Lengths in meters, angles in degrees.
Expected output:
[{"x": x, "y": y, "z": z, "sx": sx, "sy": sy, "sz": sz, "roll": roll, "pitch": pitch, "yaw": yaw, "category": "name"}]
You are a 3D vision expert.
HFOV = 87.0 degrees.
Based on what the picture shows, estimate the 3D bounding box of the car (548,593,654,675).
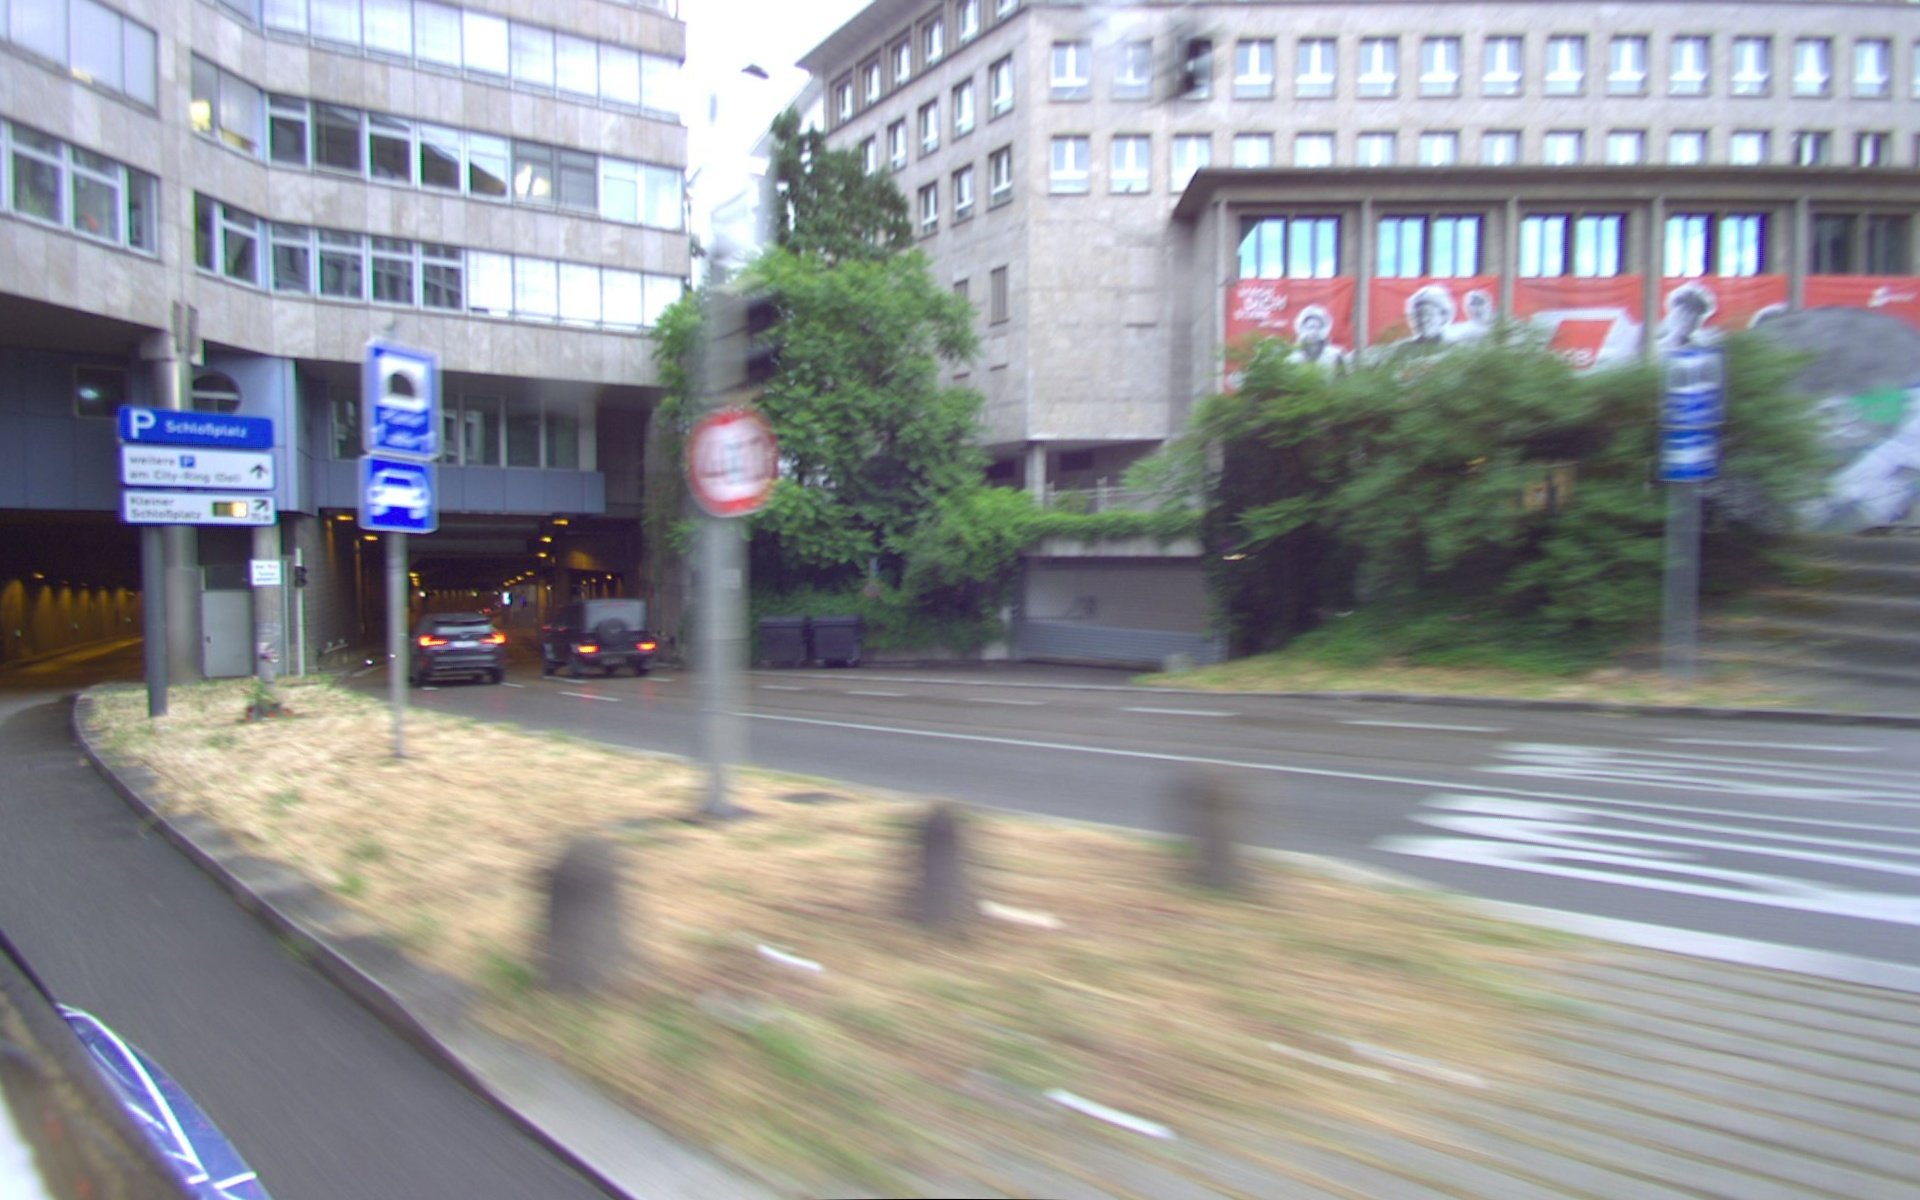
[{"x": -9.408, "y": 0.874, "z": 26.287, "sx": 1.811, "sy": 1.936, "sz": 4.656, "roll": 0, "pitch": -2, "yaw": -30, "category": "car"}]

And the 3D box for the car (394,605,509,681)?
[{"x": -11.924, "y": 0.977, "z": 23.572, "sx": 1.820, "sy": 1.600, "sz": 4.400, "roll": 0, "pitch": -2, "yaw": -34, "category": "car"}]

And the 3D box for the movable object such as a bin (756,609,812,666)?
[{"x": -4.769, "y": 1.003, "z": 27.498, "sx": 1.321, "sy": 1.461, "sz": 1.167, "roll": 0, "pitch": 0, "yaw": 1, "category": "movable object such as a bin"}]

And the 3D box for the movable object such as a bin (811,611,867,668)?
[{"x": -3.254, "y": 1.041, "z": 27.306, "sx": 1.193, "sy": 1.461, "sz": 1.293, "roll": 0, "pitch": 0, "yaw": 8, "category": "movable object such as a bin"}]
